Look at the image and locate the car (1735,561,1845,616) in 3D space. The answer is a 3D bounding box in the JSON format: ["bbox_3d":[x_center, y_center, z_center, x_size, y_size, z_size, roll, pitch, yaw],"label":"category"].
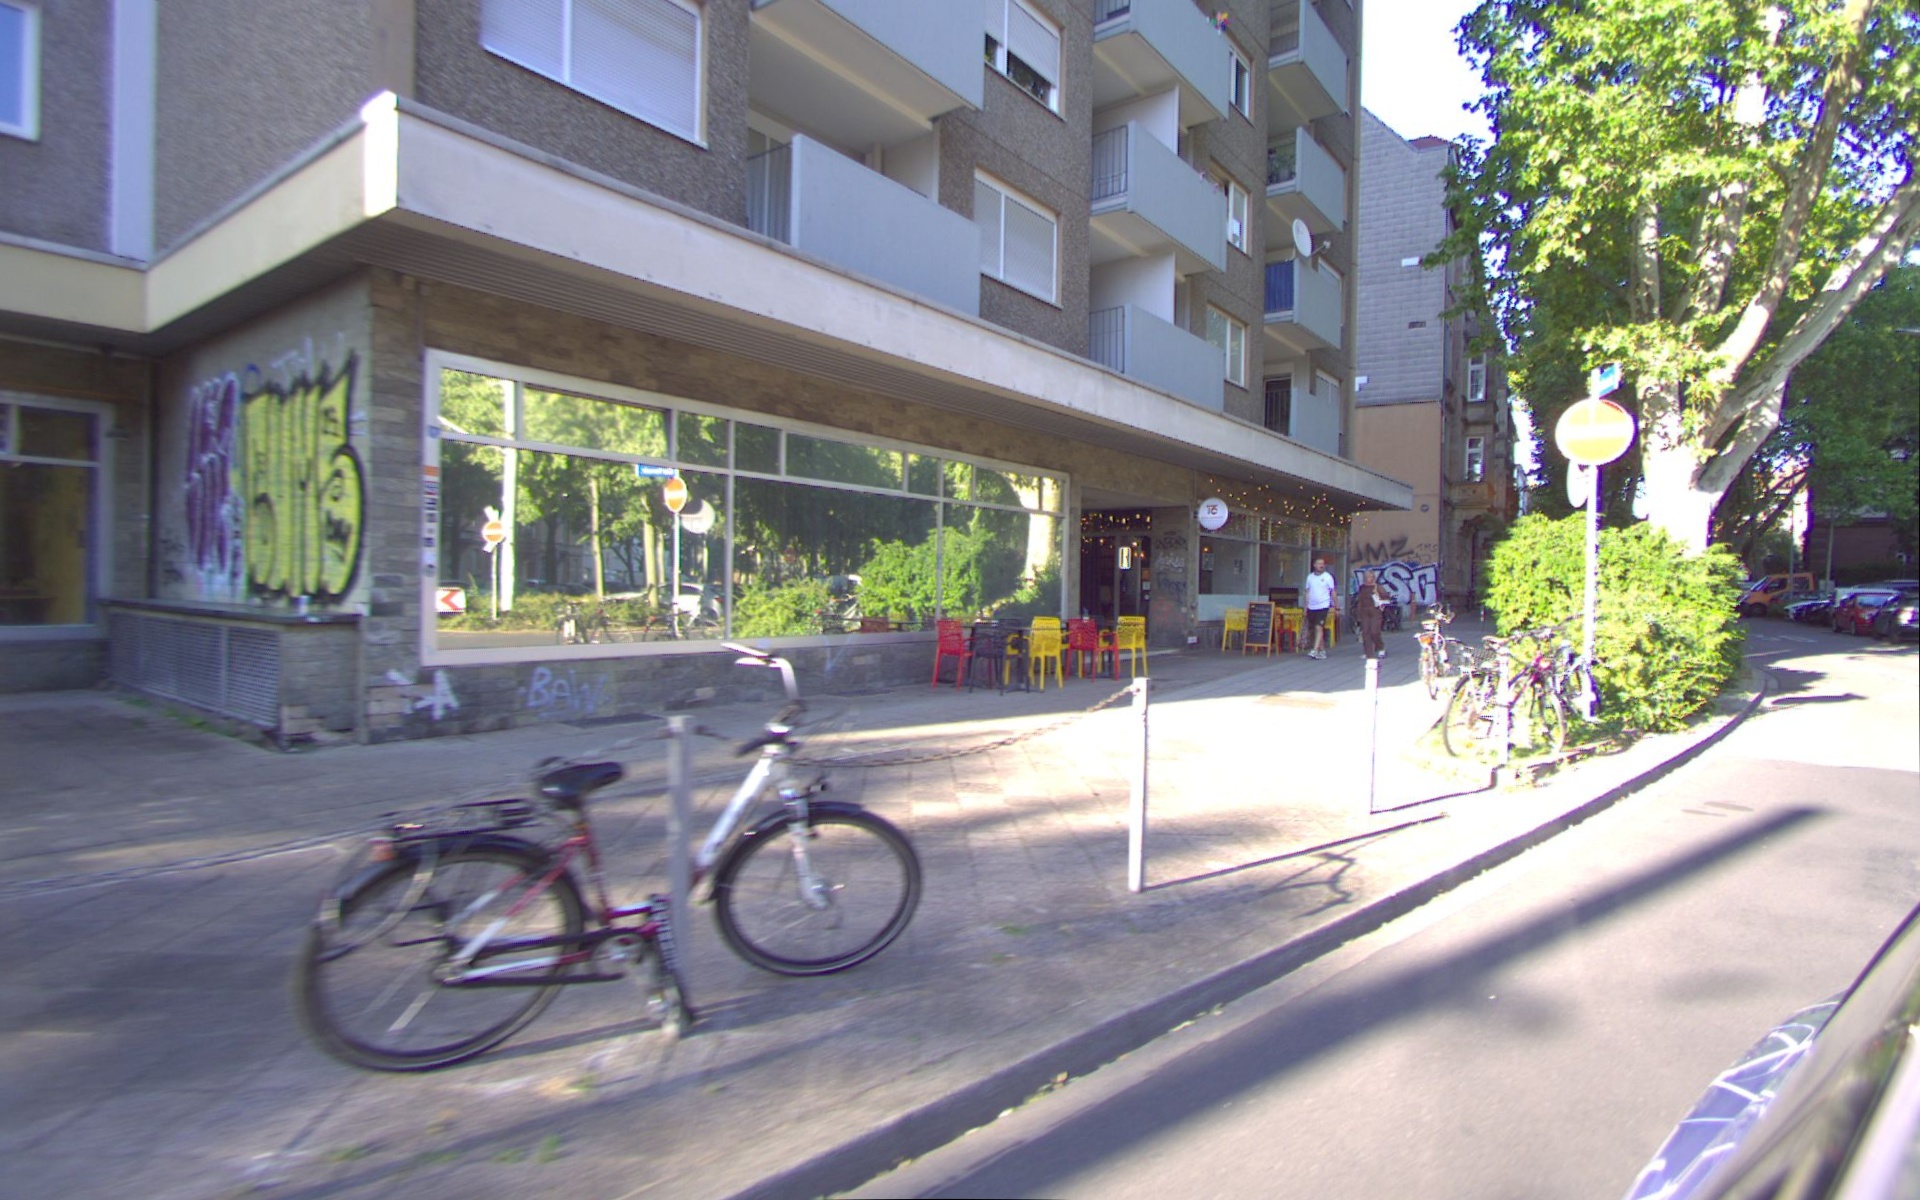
[{"bbox_3d":[47.769,-0.704,58.399,4.601,3.004,1.590,2,1,30],"label":"car"}]

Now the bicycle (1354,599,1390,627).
[{"bbox_3d":[11.415,0.352,28.014,0.887,0.750,0.270,2,1,30],"label":"bicycle"}]

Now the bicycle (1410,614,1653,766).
[{"bbox_3d":[4.465,0.640,7.867,2.046,1.035,0.641,1,2,-29],"label":"bicycle"}]

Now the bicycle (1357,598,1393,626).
[{"bbox_3d":[11.742,0.336,28.641,0.887,0.750,0.270,2,1,30],"label":"bicycle"}]

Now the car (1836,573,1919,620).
[{"bbox_3d":[36.406,-0.148,38.560,4.372,1.729,1.712,-2,-1,35],"label":"car"}]

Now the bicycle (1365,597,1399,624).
[{"bbox_3d":[12.294,0.315,29.508,0.887,0.750,0.270,2,1,30],"label":"bicycle"}]

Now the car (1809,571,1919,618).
[{"bbox_3d":[37.422,-0.222,41.044,4.372,1.799,1.764,-2,-1,35],"label":"car"}]

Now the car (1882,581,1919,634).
[{"bbox_3d":[29.958,0.185,31.136,1.731,1.572,4.223,-2,0,35],"label":"car"}]

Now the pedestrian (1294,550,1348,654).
[{"bbox_3d":[6.405,0.024,17.966,0.683,1.795,0.626,2,2,41],"label":"pedestrian"}]

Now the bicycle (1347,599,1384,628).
[{"bbox_3d":[10.946,0.360,27.319,0.887,0.750,0.270,2,1,30],"label":"bicycle"}]

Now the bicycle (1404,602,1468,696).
[{"bbox_3d":[5.667,0.565,12.038,0.348,1.051,1.036,3,2,44],"label":"bicycle"}]

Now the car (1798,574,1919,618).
[{"bbox_3d":[38.939,-0.163,43.410,4.372,1.799,1.764,-2,-1,35],"label":"car"}]

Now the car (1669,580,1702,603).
[{"bbox_3d":[51.288,-0.629,71.541,1.588,1.485,2.967,4,3,31],"label":"car"}]

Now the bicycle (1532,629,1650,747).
[{"bbox_3d":[5.849,0.768,9.342,0.543,0.916,1.708,3,2,44],"label":"bicycle"}]

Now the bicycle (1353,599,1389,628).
[{"bbox_3d":[11.239,0.360,27.694,0.887,0.750,0.270,2,1,30],"label":"bicycle"}]

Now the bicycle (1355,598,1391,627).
[{"bbox_3d":[11.565,0.344,28.326,0.887,0.750,0.270,2,1,30],"label":"bicycle"}]

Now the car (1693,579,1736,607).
[{"bbox_3d":[45.359,-0.437,60.894,1.595,1.485,3.956,4,4,31],"label":"car"}]

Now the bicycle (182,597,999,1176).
[{"bbox_3d":[-0.942,0.633,2.975,2.046,1.241,0.641,1,1,-29],"label":"bicycle"}]

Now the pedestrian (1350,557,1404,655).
[{"bbox_3d":[7.534,0.091,18.284,0.683,1.713,0.635,2,2,41],"label":"pedestrian"}]

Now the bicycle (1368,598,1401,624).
[{"bbox_3d":[12.619,0.320,30.087,0.887,0.750,0.270,2,1,30],"label":"bicycle"}]

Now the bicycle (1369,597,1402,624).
[{"bbox_3d":[12.773,0.311,30.404,0.887,0.750,0.270,2,1,30],"label":"bicycle"}]

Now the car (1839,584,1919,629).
[{"bbox_3d":[32.659,0.192,35.714,1.730,1.467,4.593,0,1,32],"label":"car"}]

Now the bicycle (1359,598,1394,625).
[{"bbox_3d":[11.916,0.329,28.923,0.887,0.750,0.270,2,1,30],"label":"bicycle"}]

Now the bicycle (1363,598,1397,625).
[{"bbox_3d":[12.121,0.323,29.202,0.887,0.750,0.270,2,1,30],"label":"bicycle"}]

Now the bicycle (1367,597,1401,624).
[{"bbox_3d":[12.475,0.308,29.789,0.887,0.750,0.270,2,1,30],"label":"bicycle"}]

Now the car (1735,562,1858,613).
[{"bbox_3d":[43.083,-0.675,52.285,4.601,2.442,1.590,2,1,30],"label":"car"}]

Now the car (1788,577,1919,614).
[{"bbox_3d":[40.077,-0.199,45.383,4.372,1.511,1.764,-2,-1,35],"label":"car"}]
